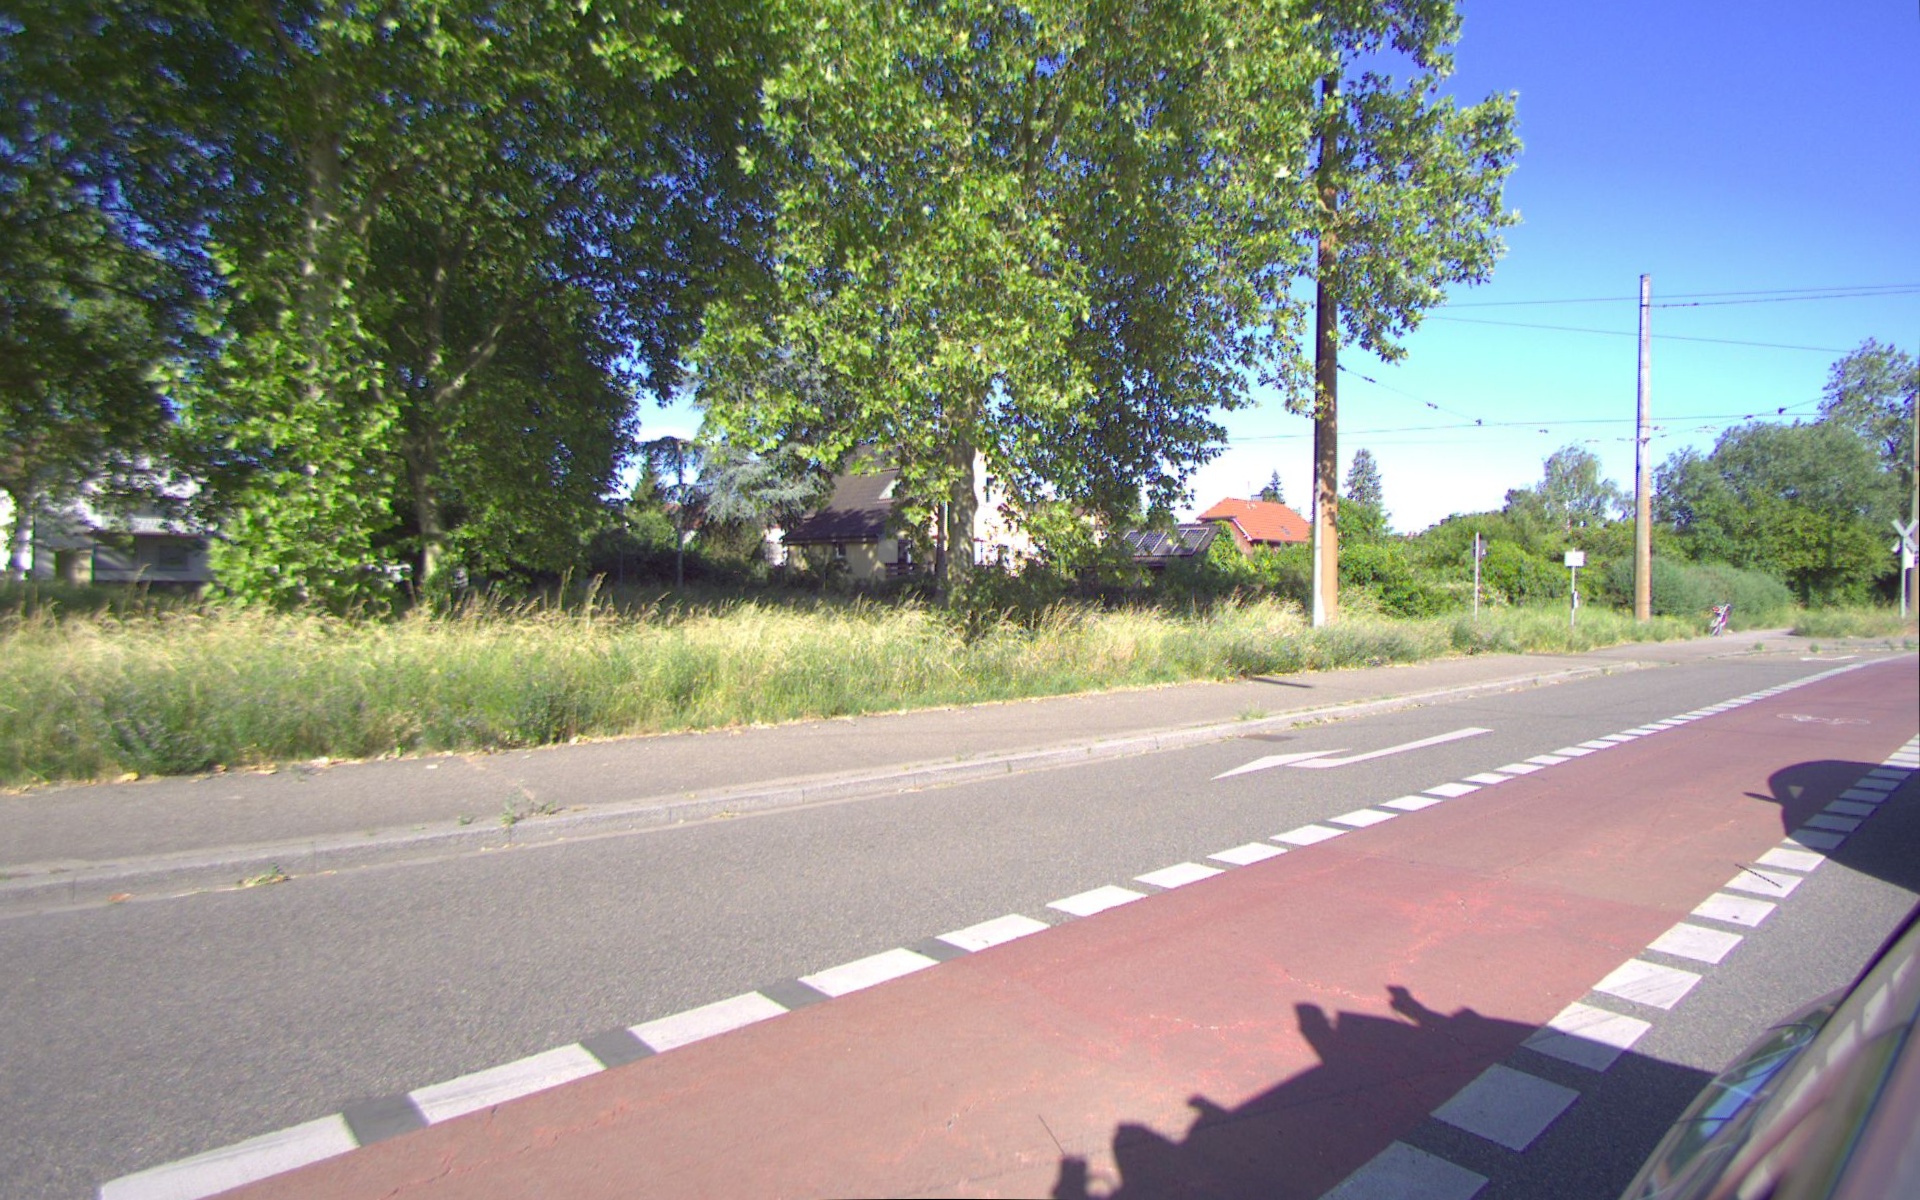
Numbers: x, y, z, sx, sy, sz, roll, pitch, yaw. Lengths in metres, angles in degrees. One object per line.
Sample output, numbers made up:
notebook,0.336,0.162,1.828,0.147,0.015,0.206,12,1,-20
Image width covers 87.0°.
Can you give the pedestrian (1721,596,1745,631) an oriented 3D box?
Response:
pedestrian,23.825,0.404,31.202,0.446,1.046,0.482,0,1,-41
